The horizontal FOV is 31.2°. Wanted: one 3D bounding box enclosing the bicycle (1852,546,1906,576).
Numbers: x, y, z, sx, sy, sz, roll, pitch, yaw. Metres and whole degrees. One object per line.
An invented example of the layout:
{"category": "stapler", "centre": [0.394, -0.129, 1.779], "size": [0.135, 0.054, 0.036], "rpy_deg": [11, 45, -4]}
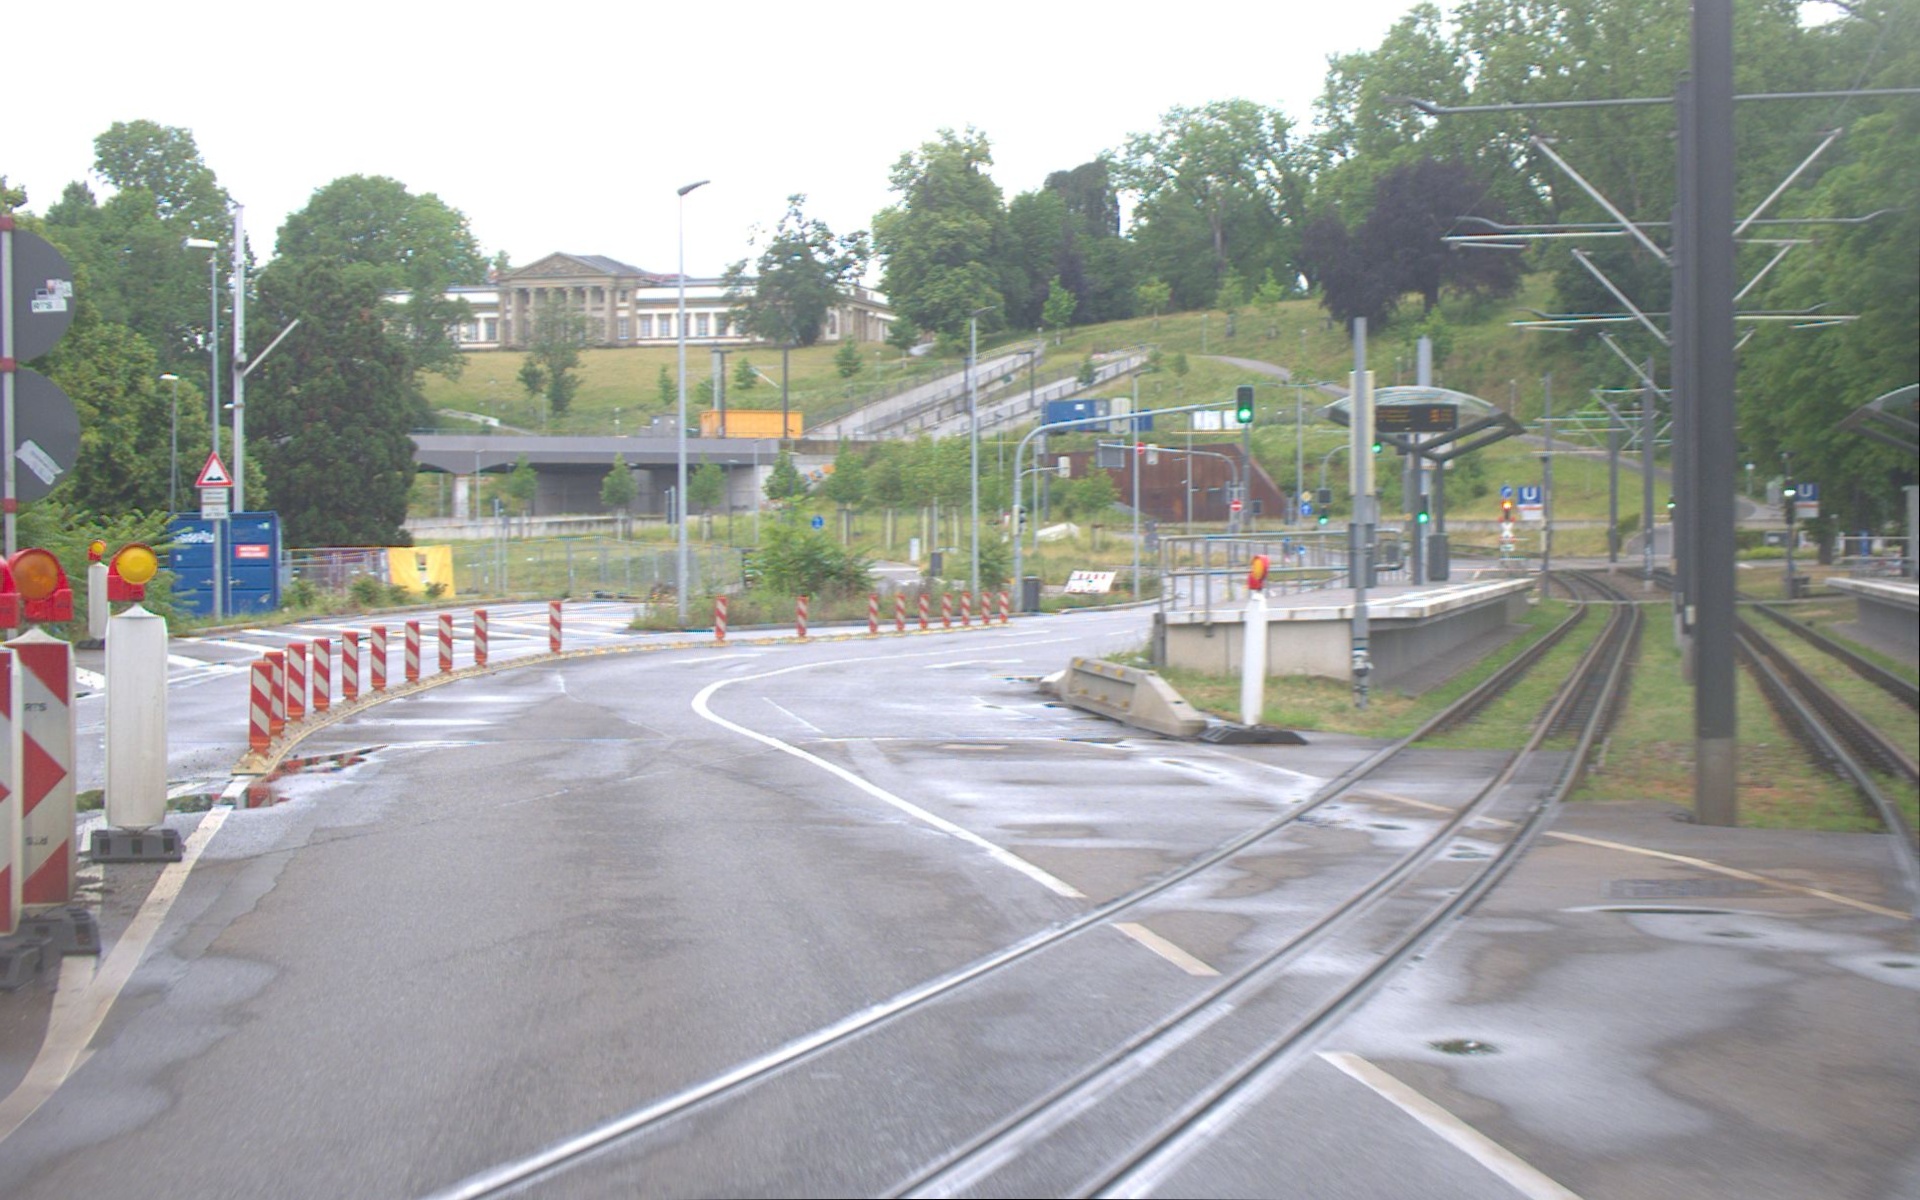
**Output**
{"category": "bicycle", "centre": [33.436, -1.418, 125.083], "size": [1.811, 1.028, 0.652], "rpy_deg": [-1, 1, 10]}

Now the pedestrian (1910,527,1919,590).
{"category": "pedestrian", "centre": [18.667, -0.810, 66.634], "size": [0.437, 1.222, 0.551], "rpy_deg": [-1, 1, 12]}

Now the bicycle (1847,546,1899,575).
{"category": "bicycle", "centre": [33.588, -1.461, 126.494], "size": [1.811, 1.028, 0.652], "rpy_deg": [-1, 1, 10]}

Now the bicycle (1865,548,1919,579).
{"category": "bicycle", "centre": [32.209, -1.264, 117.797], "size": [2.223, 1.028, 0.689], "rpy_deg": [-1, 1, 10]}

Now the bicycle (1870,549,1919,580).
{"category": "bicycle", "centre": [32.382, -1.221, 118.668], "size": [1.811, 1.028, 0.652], "rpy_deg": [-1, 1, 10]}
